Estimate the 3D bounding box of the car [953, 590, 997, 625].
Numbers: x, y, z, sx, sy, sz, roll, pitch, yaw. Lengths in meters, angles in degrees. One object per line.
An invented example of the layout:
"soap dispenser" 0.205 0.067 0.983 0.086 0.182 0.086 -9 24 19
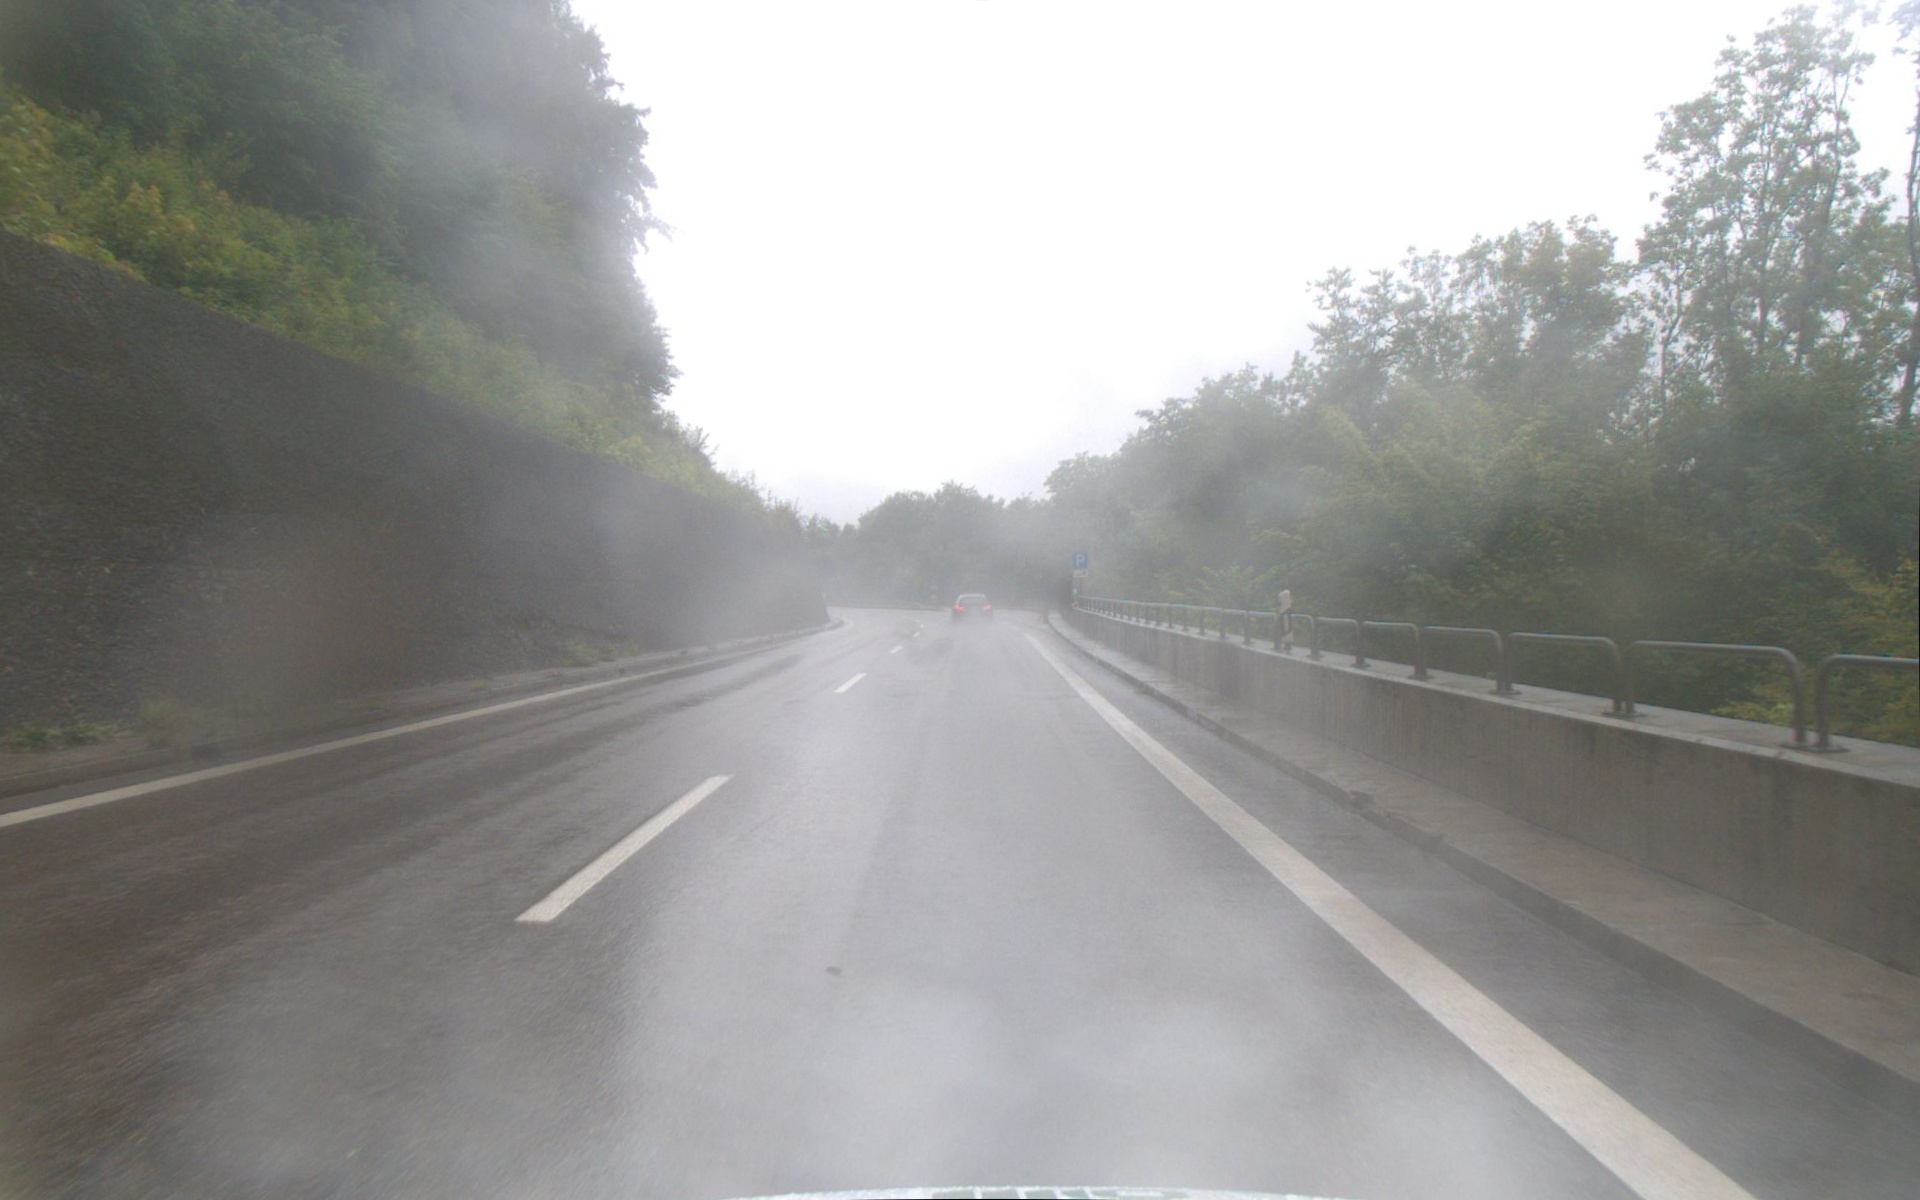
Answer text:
"car" 0.650 0.310 72.965 1.865 1.525 4.000 0 0 -1
